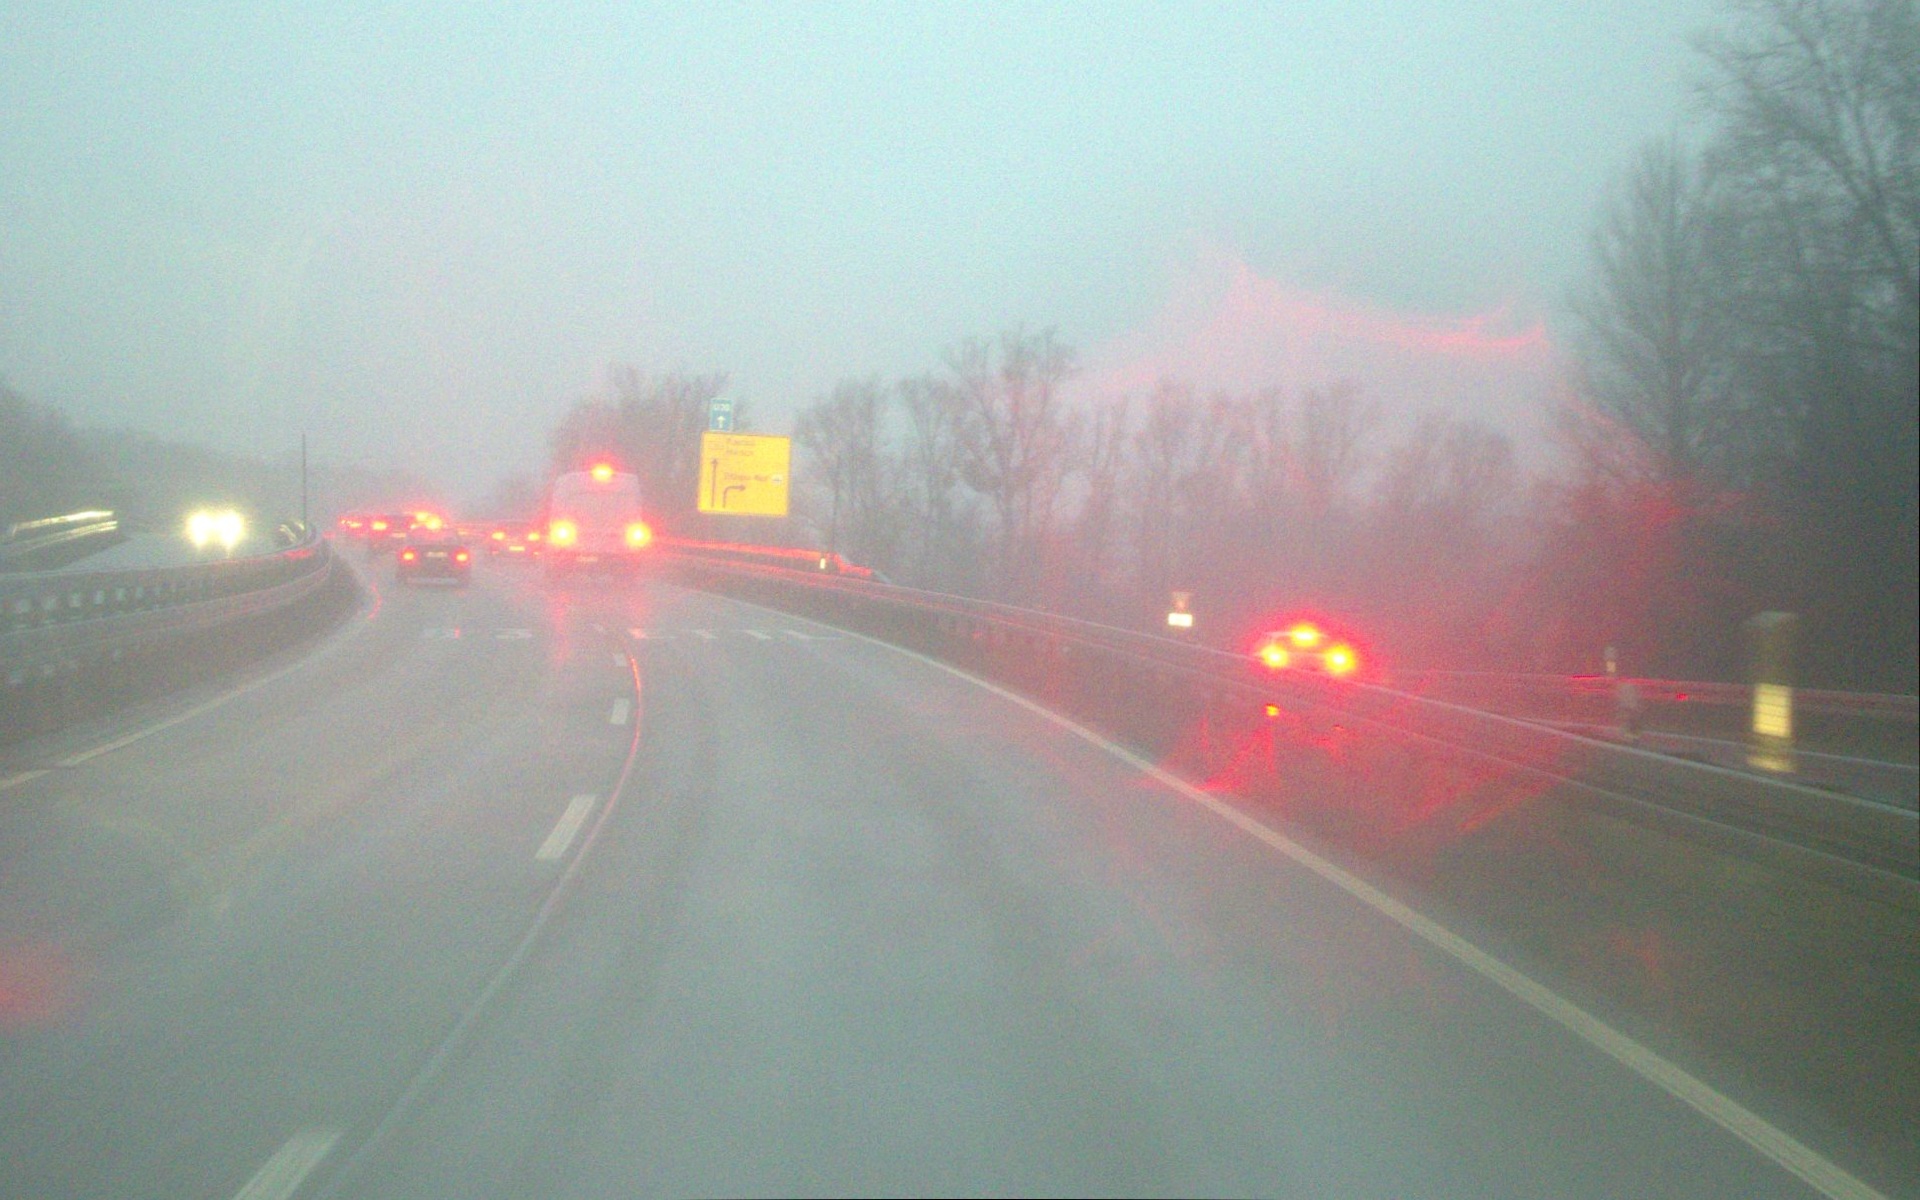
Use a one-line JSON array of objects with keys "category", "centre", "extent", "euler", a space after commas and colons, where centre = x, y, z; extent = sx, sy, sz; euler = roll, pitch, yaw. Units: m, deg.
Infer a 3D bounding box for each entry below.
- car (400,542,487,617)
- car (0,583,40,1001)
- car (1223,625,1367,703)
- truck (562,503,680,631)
[{"category": "car", "centre": [-12.524, -0.479, 83.196], "extent": [1.834, 1.532, 4.000], "euler": [2, -3, -11]}, {"category": "car", "centre": [-3.941, 0.648, 9.901], "extent": [1.625, 1.387, 4.000], "euler": [1, 1, -2]}, {"category": "car", "centre": [6.699, 1.259, 69.110], "extent": [1.675, 1.277, 4.001], "euler": [8, -1, -11]}, {"category": "truck", "centre": [-8.362, -0.762, 84.402], "extent": [2.382, 2.899, 4.675], "euler": [1, -2, -11]}]
